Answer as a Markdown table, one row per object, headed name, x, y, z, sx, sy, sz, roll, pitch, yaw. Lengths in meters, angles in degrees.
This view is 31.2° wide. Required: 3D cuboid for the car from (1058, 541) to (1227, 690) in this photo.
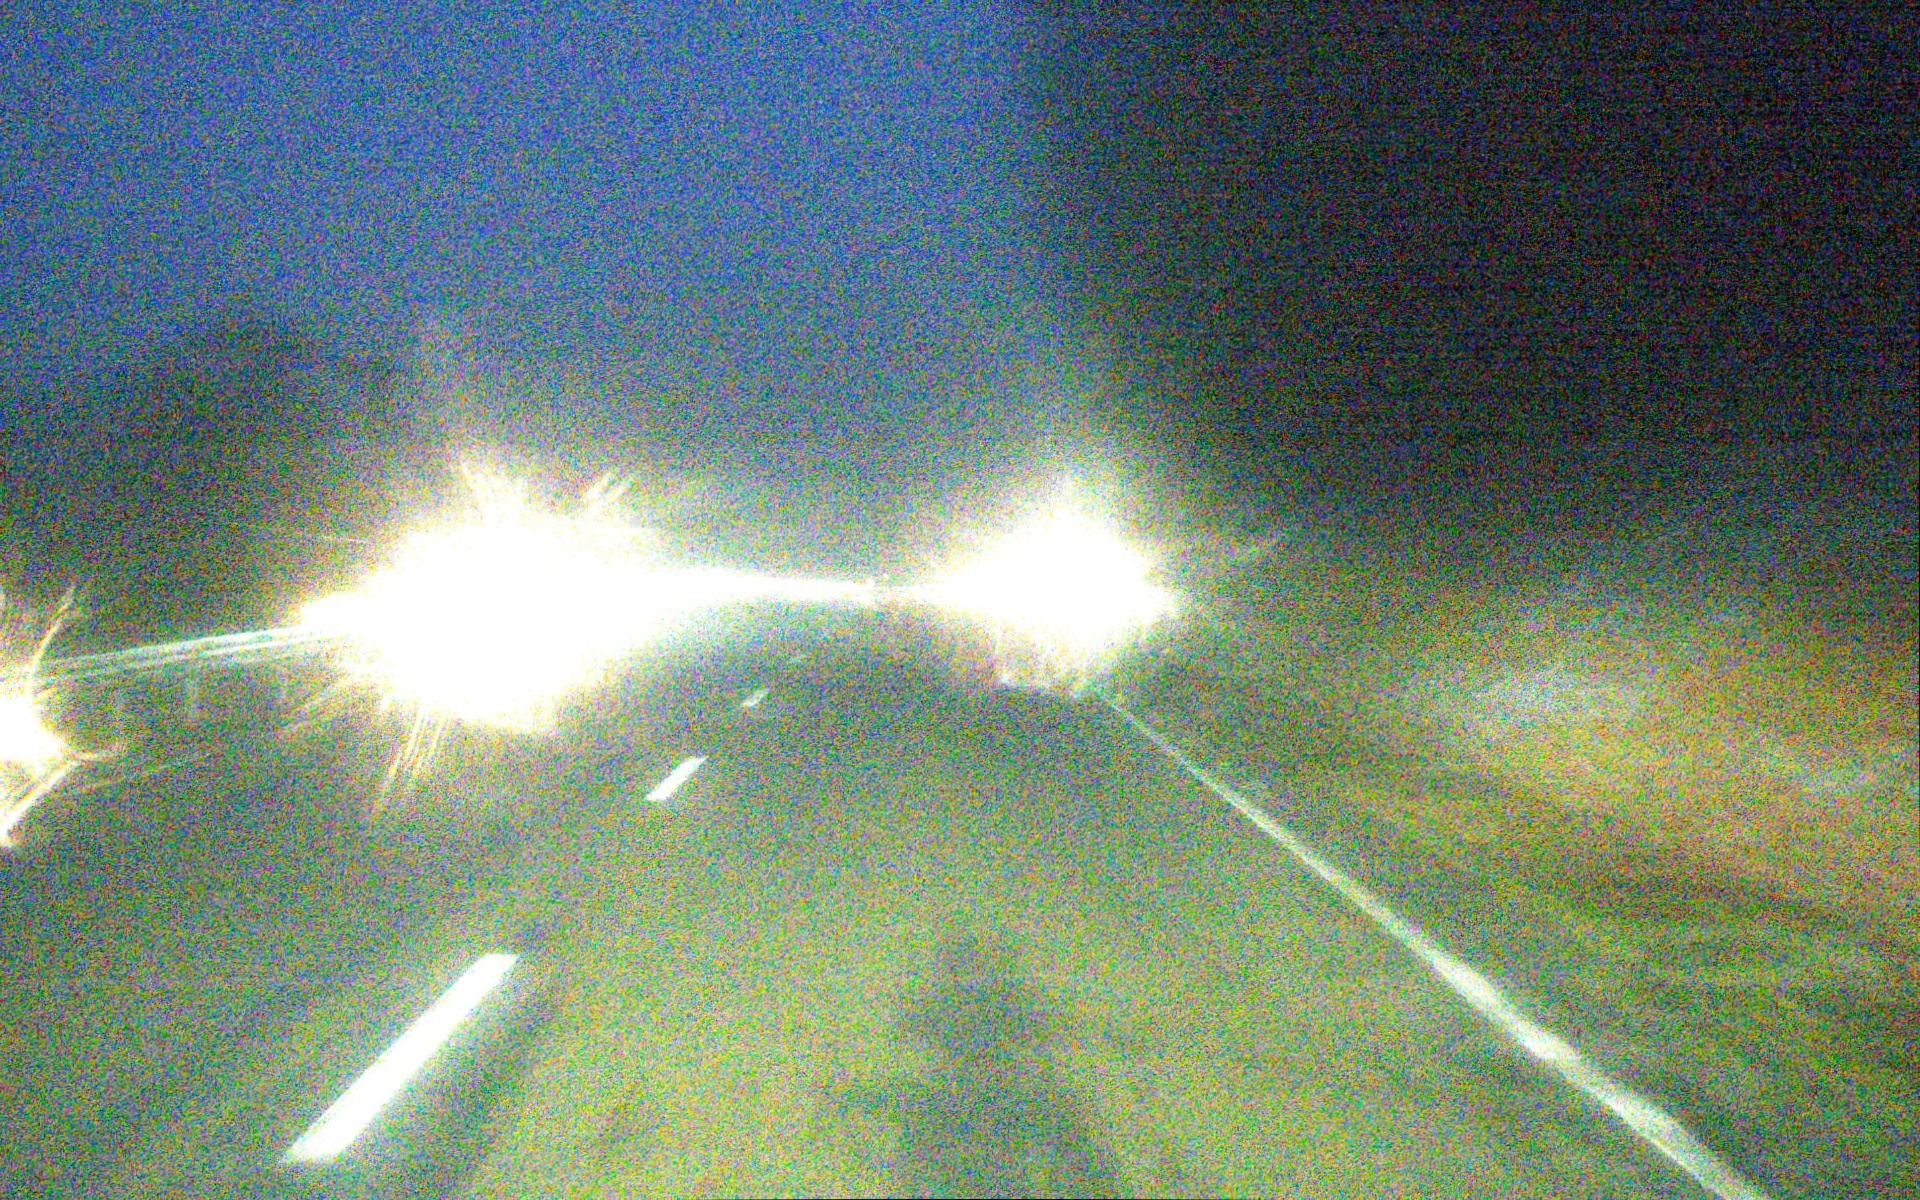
| name | x | y | z | sx | sy | sz | roll | pitch | yaw |
| --- | --- | --- | --- | --- | --- | --- | --- | --- | --- |
| car | 2.580 | 0.273 | 49.612 | 2.197 | 2.007 | 4.207 | 1 | -2 | 0 |
